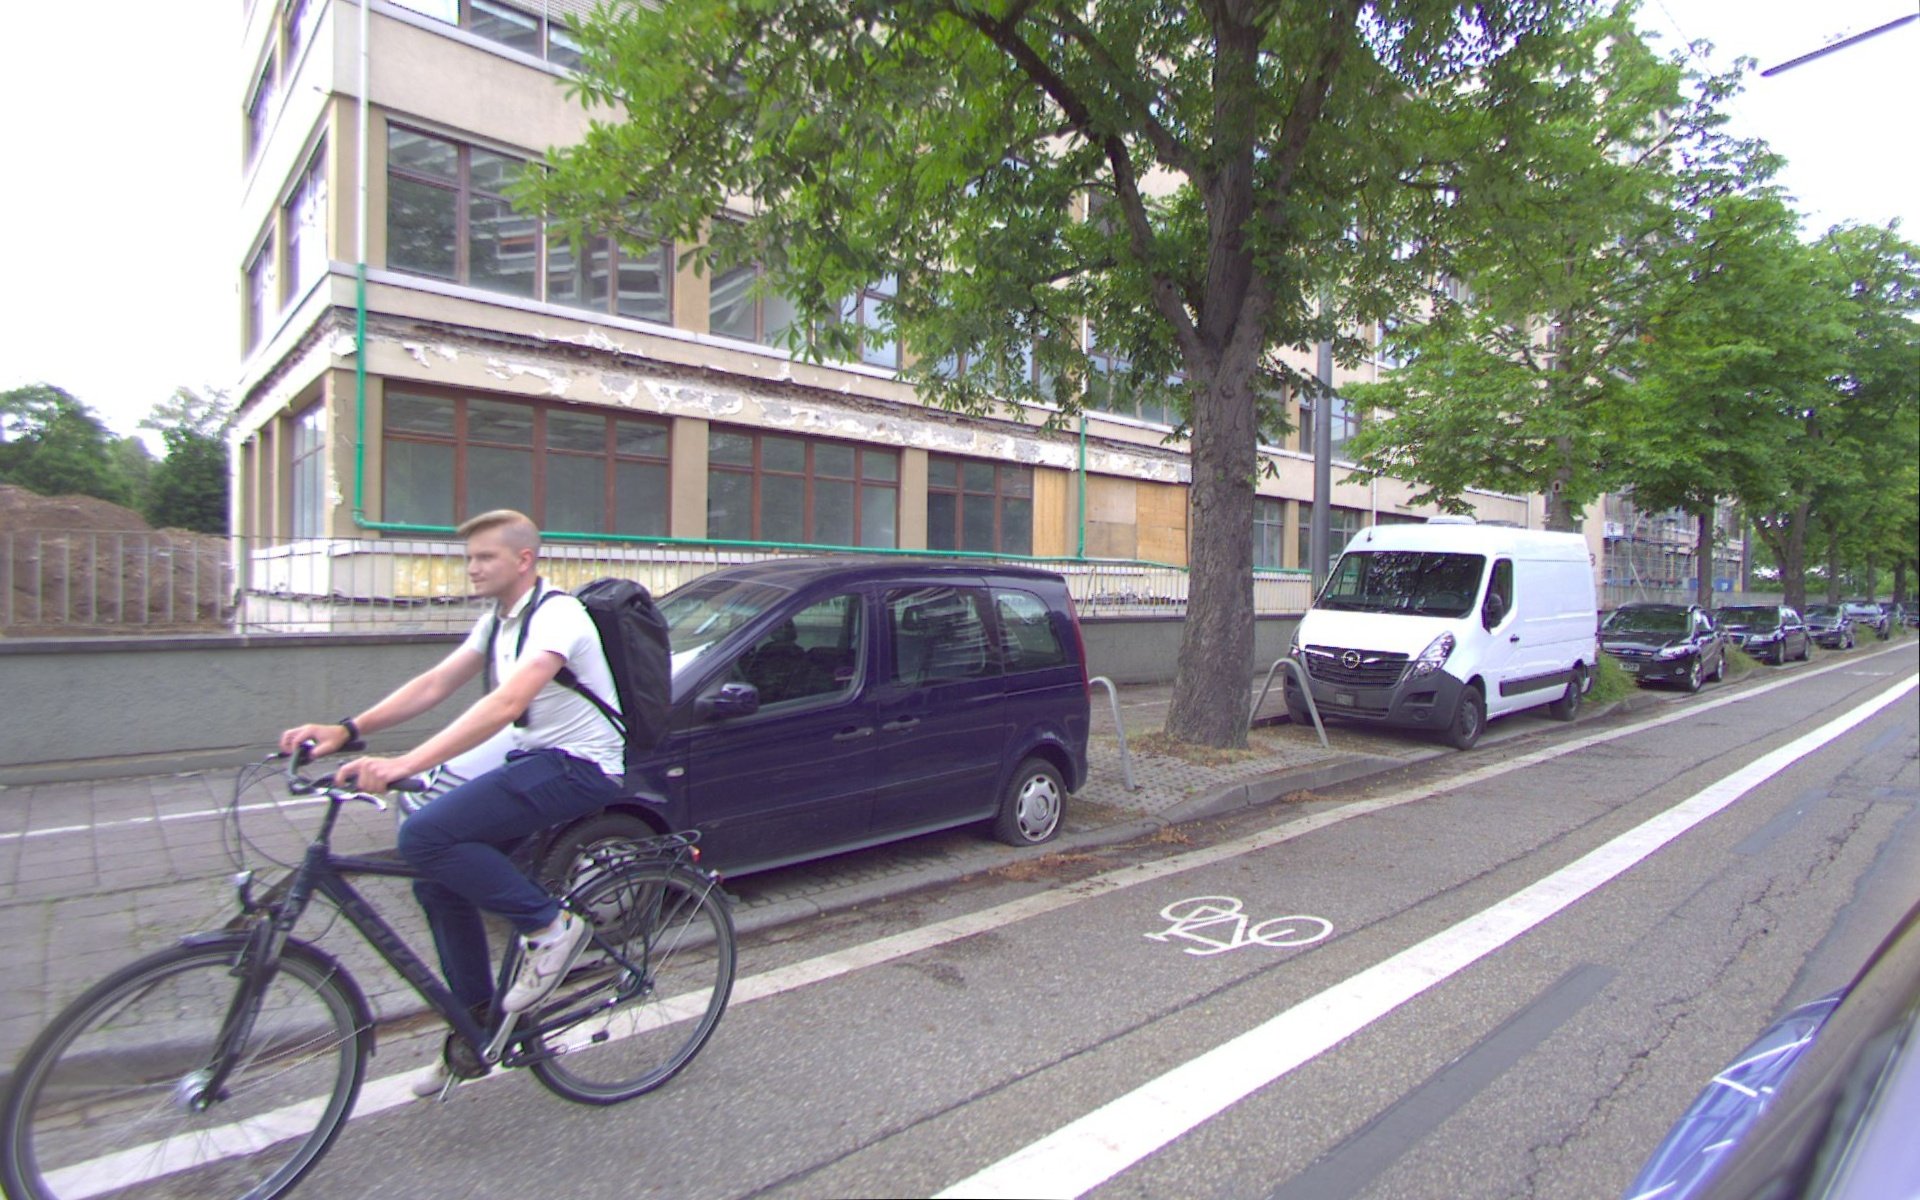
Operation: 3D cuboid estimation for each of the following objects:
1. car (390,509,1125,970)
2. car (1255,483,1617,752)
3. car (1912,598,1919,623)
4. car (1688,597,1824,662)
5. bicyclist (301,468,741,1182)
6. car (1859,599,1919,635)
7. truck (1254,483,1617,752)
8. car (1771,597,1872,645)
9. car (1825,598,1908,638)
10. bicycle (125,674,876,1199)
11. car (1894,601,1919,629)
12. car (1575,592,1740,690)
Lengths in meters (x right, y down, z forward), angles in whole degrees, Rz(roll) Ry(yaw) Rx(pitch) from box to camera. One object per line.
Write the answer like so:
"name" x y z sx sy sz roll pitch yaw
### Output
"car" -0.932 0.527 6.007 4.015 1.835 1.655 -1 1 -43
"car" 6.069 0.163 12.530 5.397 2.635 2.116 0 0 -42
"car" 60.021 0.637 62.122 4.318 1.479 1.996 0 0 -43
"car" 19.873 0.669 25.214 4.318 1.479 1.996 0 0 -43
"bicyclist" -1.211 0.499 2.835 0.969 1.589 0.663 0 0 -42
"car" 40.965 0.715 44.301 4.318 1.479 1.996 0 0 -43
"truck" 6.054 0.163 12.512 5.397 2.635 2.116 0 0 -42
"car" 28.125 0.632 33.010 4.318 1.479 1.996 0 0 -43
"car" 35.024 0.654 39.079 4.318 1.479 1.996 0 0 -43
"bicycle" -1.166 0.831 2.883 1.834 1.131 0.665 0 -1 -43
"car" 51.647 0.783 54.250 4.318 1.479 1.996 0 0 -43
"car" 12.960 0.657 18.700 1.821 1.518 4.041 3 3 44
